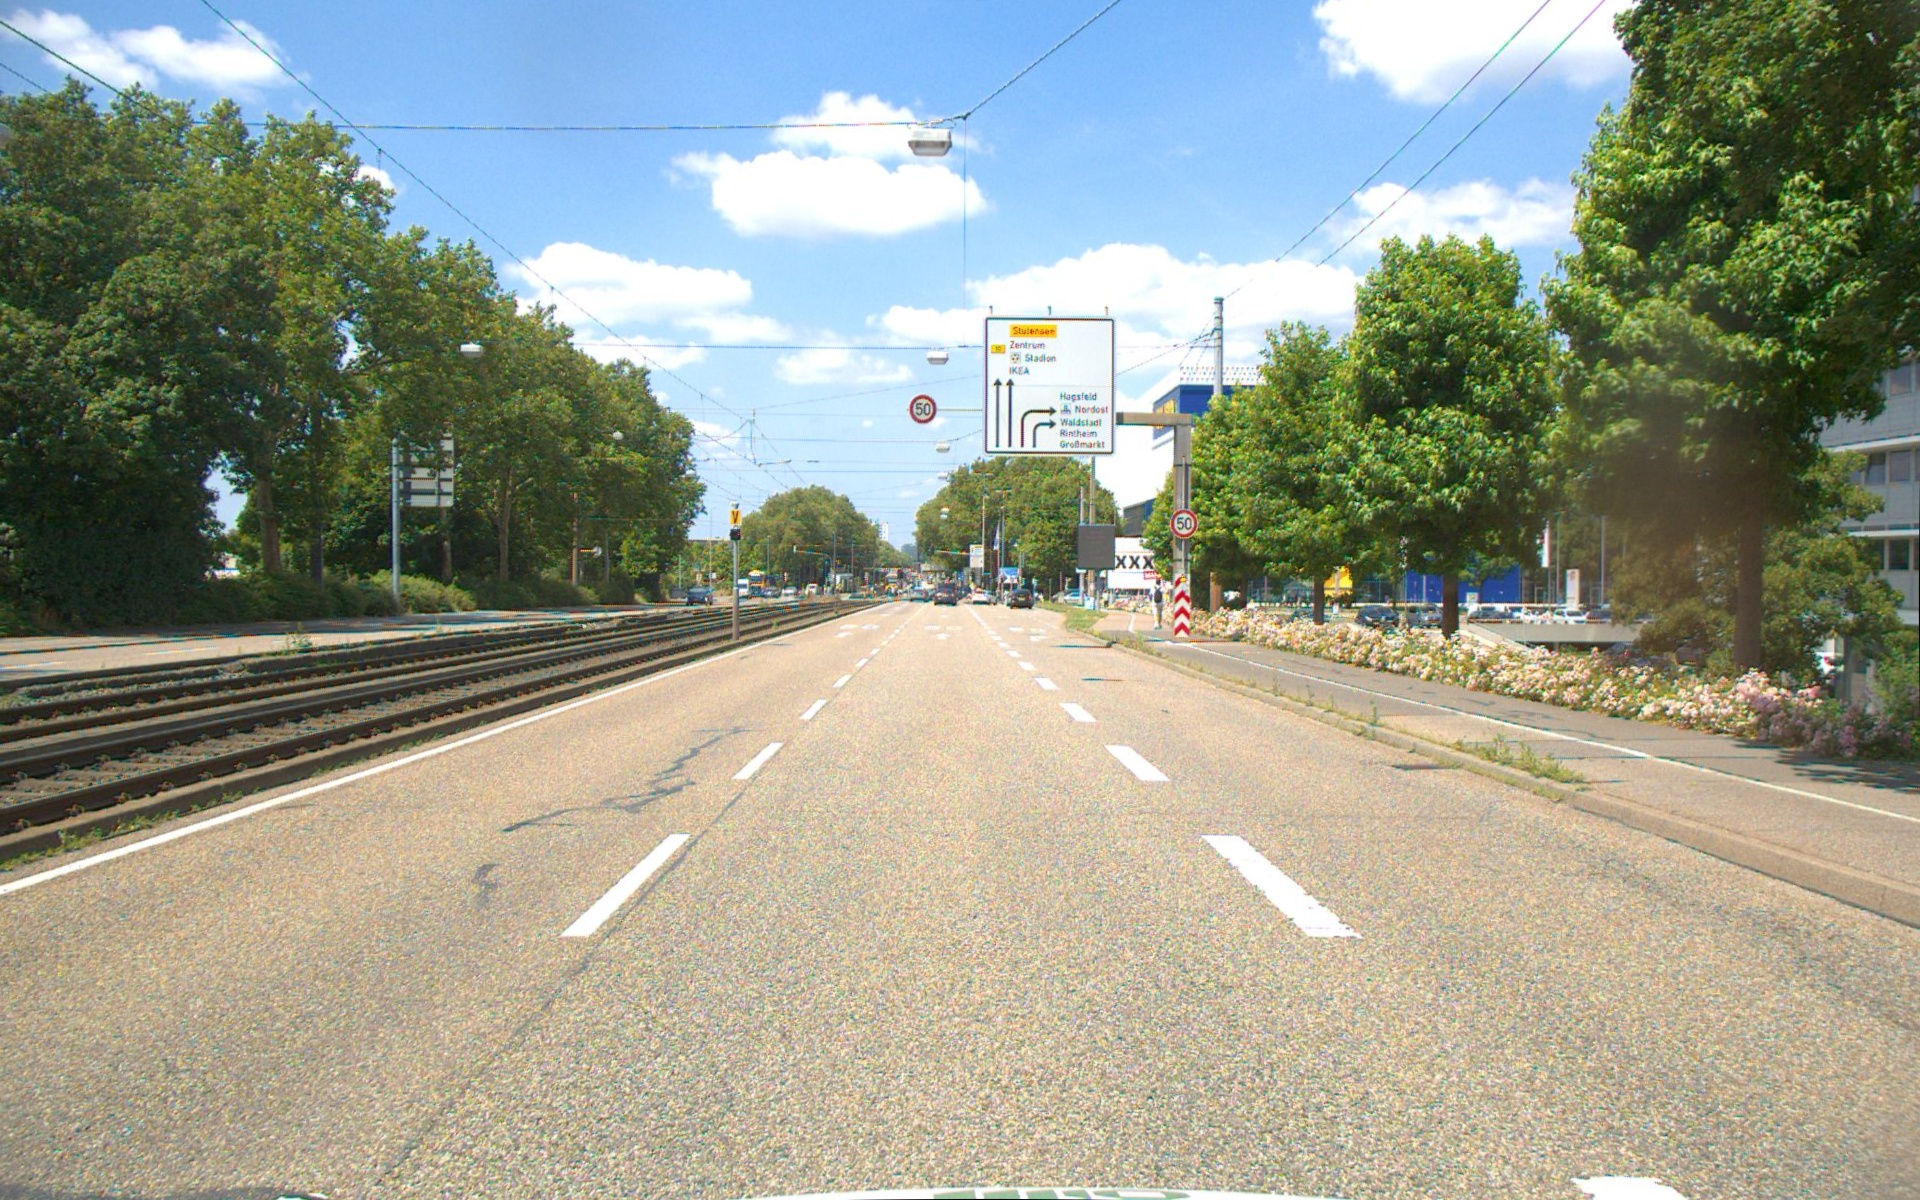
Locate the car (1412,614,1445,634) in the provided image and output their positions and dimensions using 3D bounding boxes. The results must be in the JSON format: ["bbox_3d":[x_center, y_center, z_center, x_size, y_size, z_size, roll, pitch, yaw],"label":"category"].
[{"bbox_3d":[38.996,1.973,137.744,1.539,1.508,3.887,2,1,-2],"label":"car"}]

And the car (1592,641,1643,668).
[{"bbox_3d":[42.720,3.547,107.575,1.705,1.508,3.964,2,1,0],"label":"car"}]

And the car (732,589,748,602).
[{"bbox_3d":[-28.955,-0.559,217.420,1.590,1.576,3.703,2,1,-1],"label":"car"}]

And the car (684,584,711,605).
[{"bbox_3d":[-20.697,-0.477,130.651,1.612,1.577,4.214,1,1,-3],"label":"car"}]

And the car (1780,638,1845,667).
[{"bbox_3d":[49.928,3.053,96.923,1.705,1.508,3.964,2,1,0],"label":"car"}]

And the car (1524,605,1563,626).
[{"bbox_3d":[46.267,1.196,131.126,1.539,1.508,3.887,2,1,-2],"label":"car"}]

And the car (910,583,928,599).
[{"bbox_3d":[-4.352,-0.999,173.489,1.805,1.576,3.775,2,1,-2],"label":"car"}]

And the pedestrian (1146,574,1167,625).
[{"bbox_3d":[7.117,-0.020,59.925,0.655,1.823,0.925,1,0,1],"label":"pedestrian"}]

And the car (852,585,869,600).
[{"bbox_3d":[-11.454,-0.843,190.345,1.805,1.576,3.775,2,1,-2],"label":"car"}]

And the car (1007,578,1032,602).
[{"bbox_3d":[4.786,-0.795,133.798,1.860,1.837,3.976,2,1,0],"label":"car"}]

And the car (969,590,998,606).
[{"bbox_3d":[2.468,-0.201,171.616,1.651,1.576,3.984,2,1,21],"label":"car"}]

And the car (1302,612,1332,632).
[{"bbox_3d":[29.812,1.806,138.163,1.539,1.508,3.887,2,1,-2],"label":"car"}]

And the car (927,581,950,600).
[{"bbox_3d":[-1.849,-0.795,140.237,1.838,1.566,3.776,2,1,-1],"label":"car"}]

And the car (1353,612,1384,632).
[{"bbox_3d":[34.678,1.858,140.430,1.539,1.508,3.887,2,1,-2],"label":"car"}]
